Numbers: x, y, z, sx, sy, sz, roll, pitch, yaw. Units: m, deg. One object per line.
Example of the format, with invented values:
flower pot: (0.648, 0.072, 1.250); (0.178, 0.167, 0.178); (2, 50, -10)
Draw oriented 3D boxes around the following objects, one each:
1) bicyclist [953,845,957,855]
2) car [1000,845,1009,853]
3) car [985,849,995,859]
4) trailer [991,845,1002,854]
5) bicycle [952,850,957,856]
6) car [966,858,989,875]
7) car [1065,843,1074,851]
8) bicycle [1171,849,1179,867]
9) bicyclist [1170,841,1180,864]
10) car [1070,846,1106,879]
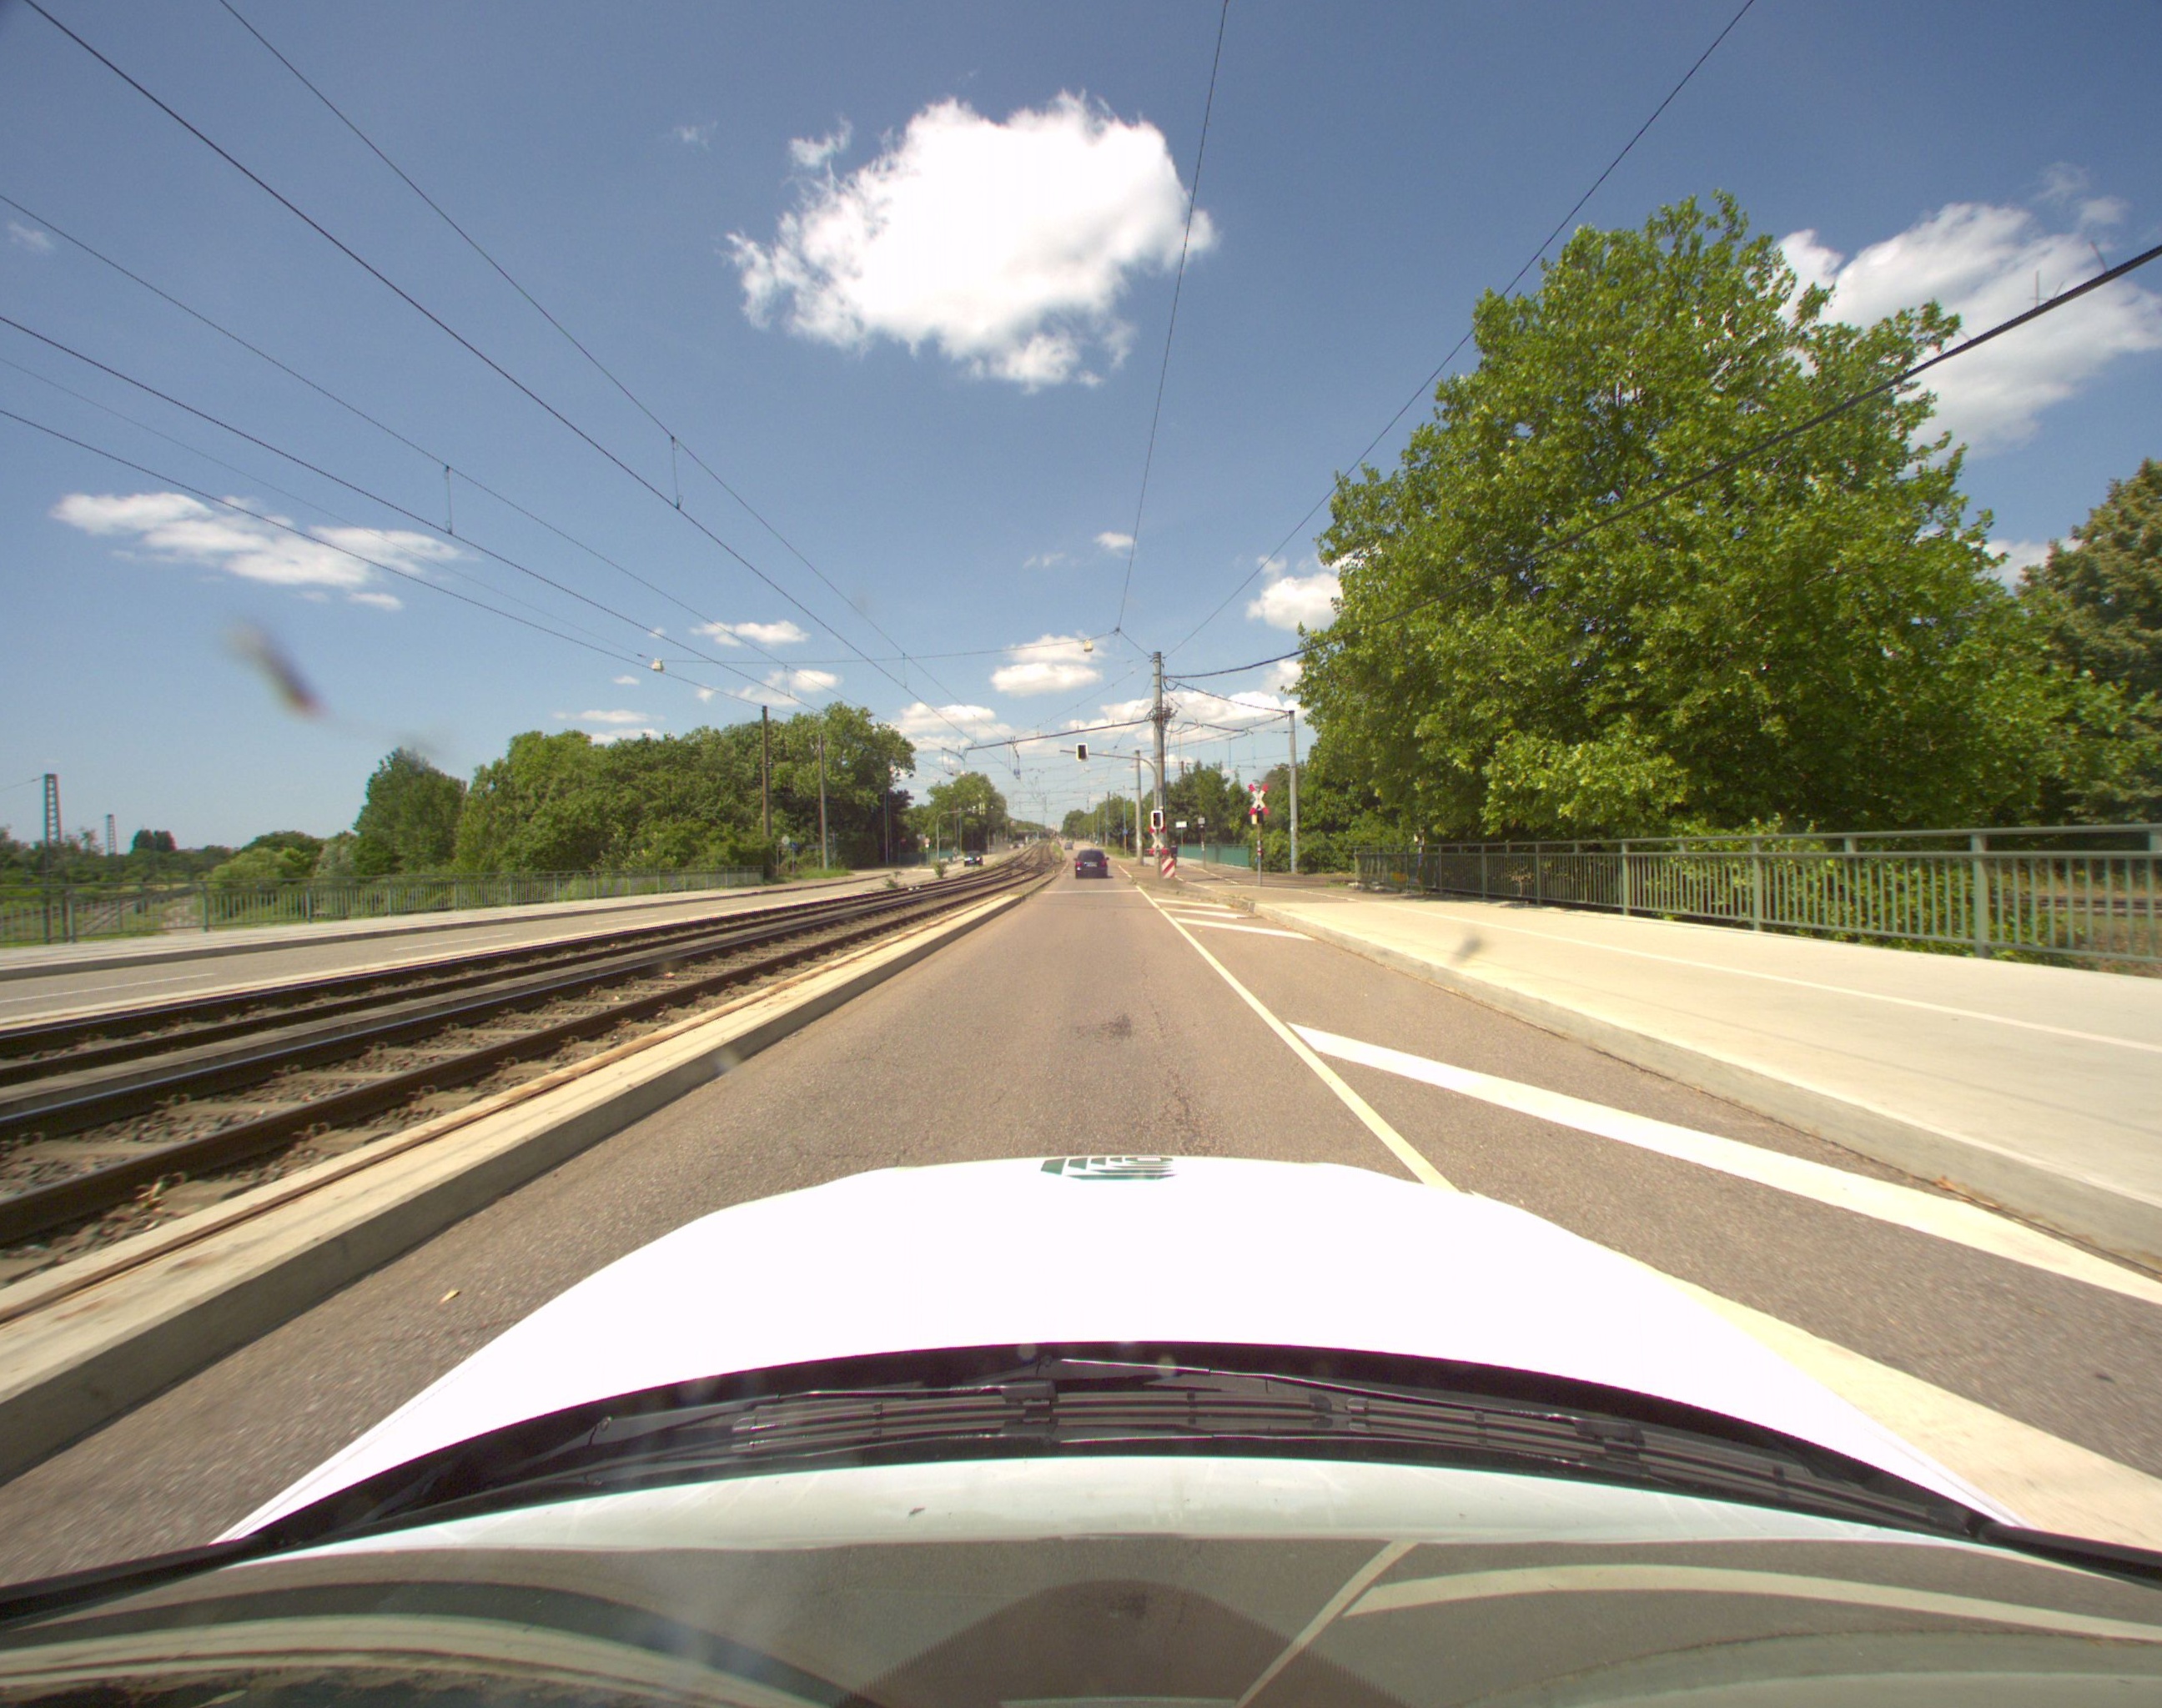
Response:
bicyclist: (-18.187, -0.533, 117.247); (0.455, 1.474, 0.633); (-1, 0, 0)
car: (-20.454, -1.237, 217.108); (1.988, 2.013, 3.998); (-2, 0, -1)
car: (-18.804, -0.051, 167.996); (1.716, 1.630, 4.612); (-4, 3, -3)
trailer: (-19.081, -1.087, 183.584); (2.459, 1.888, 5.949); (-1, 1, -6)
bicycle: (-18.175, -0.129, 117.222); (0.467, 0.868, 1.743); (-1, 1, 1)
car: (-10.486, 1.250, 82.715); (1.698, 1.510, 3.736); (-2, 1, 2)
car: (-2.690, -1.692, 187.022); (1.877, 1.639, 4.003); (2, 2, 2)
bicycle: (6.297, 0.240, 54.527); (0.430, 1.152, 1.857); (0, 2, 3)
bicyclist: (6.289, -0.108, 54.480); (0.583, 1.494, 0.558); (0, 2, 2)
car: (0.431, 0.415, 44.922); (1.846, 1.569, 4.391); (0, 3, 1)
